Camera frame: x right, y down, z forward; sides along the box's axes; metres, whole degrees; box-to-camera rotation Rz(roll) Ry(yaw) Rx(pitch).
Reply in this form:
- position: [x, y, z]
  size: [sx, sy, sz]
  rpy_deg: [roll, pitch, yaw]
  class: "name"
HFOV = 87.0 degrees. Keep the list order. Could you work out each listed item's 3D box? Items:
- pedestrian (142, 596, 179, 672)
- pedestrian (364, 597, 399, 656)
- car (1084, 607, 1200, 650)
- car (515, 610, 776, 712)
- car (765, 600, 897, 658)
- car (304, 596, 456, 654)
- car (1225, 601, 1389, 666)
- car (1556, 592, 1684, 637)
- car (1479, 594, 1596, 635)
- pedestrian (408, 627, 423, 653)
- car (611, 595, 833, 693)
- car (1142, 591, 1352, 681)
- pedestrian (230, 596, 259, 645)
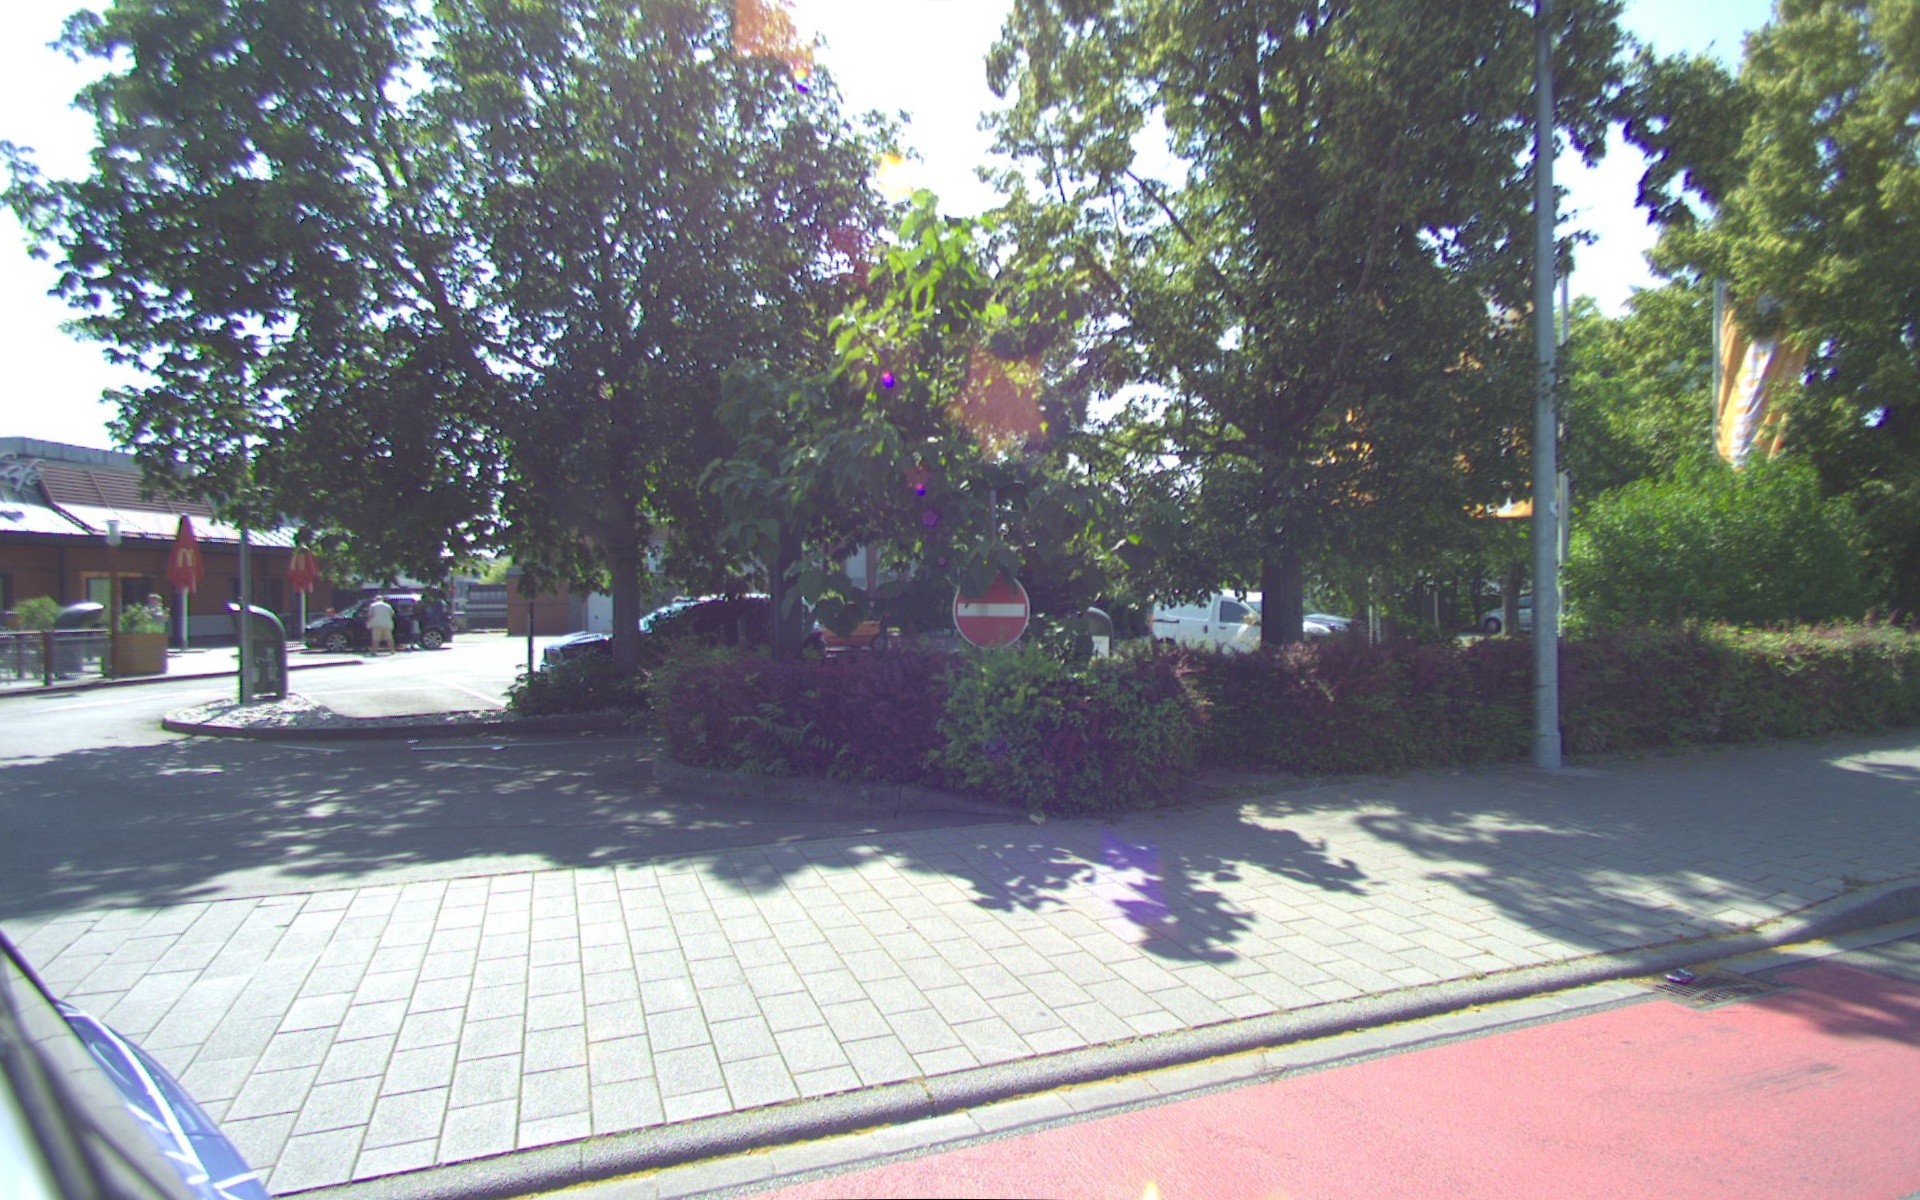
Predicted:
- position: [-17.081, 0.715, 21.625]
  size: [0.587, 1.579, 0.573]
  rpy_deg: [0, 0, -36]
  class: "pedestrian"
- position: [-16.606, 0.755, 29.050]
  size: [0.819, 1.650, 0.791]
  rpy_deg: [0, -1, -34]
  class: "pedestrian"
- position: [6.783, 1.044, 38.078]
  size: [4.121, 1.529, 1.761]
  rpy_deg: [0, 0, 6]
  class: "car"
- position: [-5.243, 0.936, 17.197]
  size: [1.657, 1.505, 3.941]
  rpy_deg: [0, 0, 45]
  class: "car"
- position: [-3.918, 0.827, 30.893]
  size: [3.663, 1.644, 1.673]
  rpy_deg: [0, 0, -36]
  class: "car"
- position: [-17.696, 0.722, 30.926]
  size: [3.933, 1.670, 1.961]
  rpy_deg: [0, -1, -33]
  class: "car"
- position: [9.374, 0.854, 27.522]
  size: [1.875, 1.595, 3.817]
  rpy_deg: [0, 0, -40]
  class: "car"
- position: [26.981, 0.543, 41.476]
  size: [1.772, 1.745, 4.033]
  rpy_deg: [0, 0, -37]
  class: "car"
- position: [23.653, 0.563, 41.578]
  size: [1.617, 1.599, 3.857]
  rpy_deg: [0, 0, -38]
  class: "car"
- position: [-16.487, 1.212, 30.646]
  size: [0.358, 0.785, 0.336]
  rpy_deg: [0, -1, -34]
  class: "pedestrian"
- position: [-4.798, 0.810, 20.824]
  size: [1.760, 1.812, 4.167]
  rpy_deg: [0, 0, 44]
  class: "car"
- position: [6.466, 0.749, 23.173]
  size: [1.722, 1.841, 4.359]
  rpy_deg: [-1, 0, -42]
  class: "car"
- position: [-24.767, 0.697, 35.039]
  size: [0.535, 1.664, 0.622]
  rpy_deg: [0, -1, 6]
  class: "pedestrian"
